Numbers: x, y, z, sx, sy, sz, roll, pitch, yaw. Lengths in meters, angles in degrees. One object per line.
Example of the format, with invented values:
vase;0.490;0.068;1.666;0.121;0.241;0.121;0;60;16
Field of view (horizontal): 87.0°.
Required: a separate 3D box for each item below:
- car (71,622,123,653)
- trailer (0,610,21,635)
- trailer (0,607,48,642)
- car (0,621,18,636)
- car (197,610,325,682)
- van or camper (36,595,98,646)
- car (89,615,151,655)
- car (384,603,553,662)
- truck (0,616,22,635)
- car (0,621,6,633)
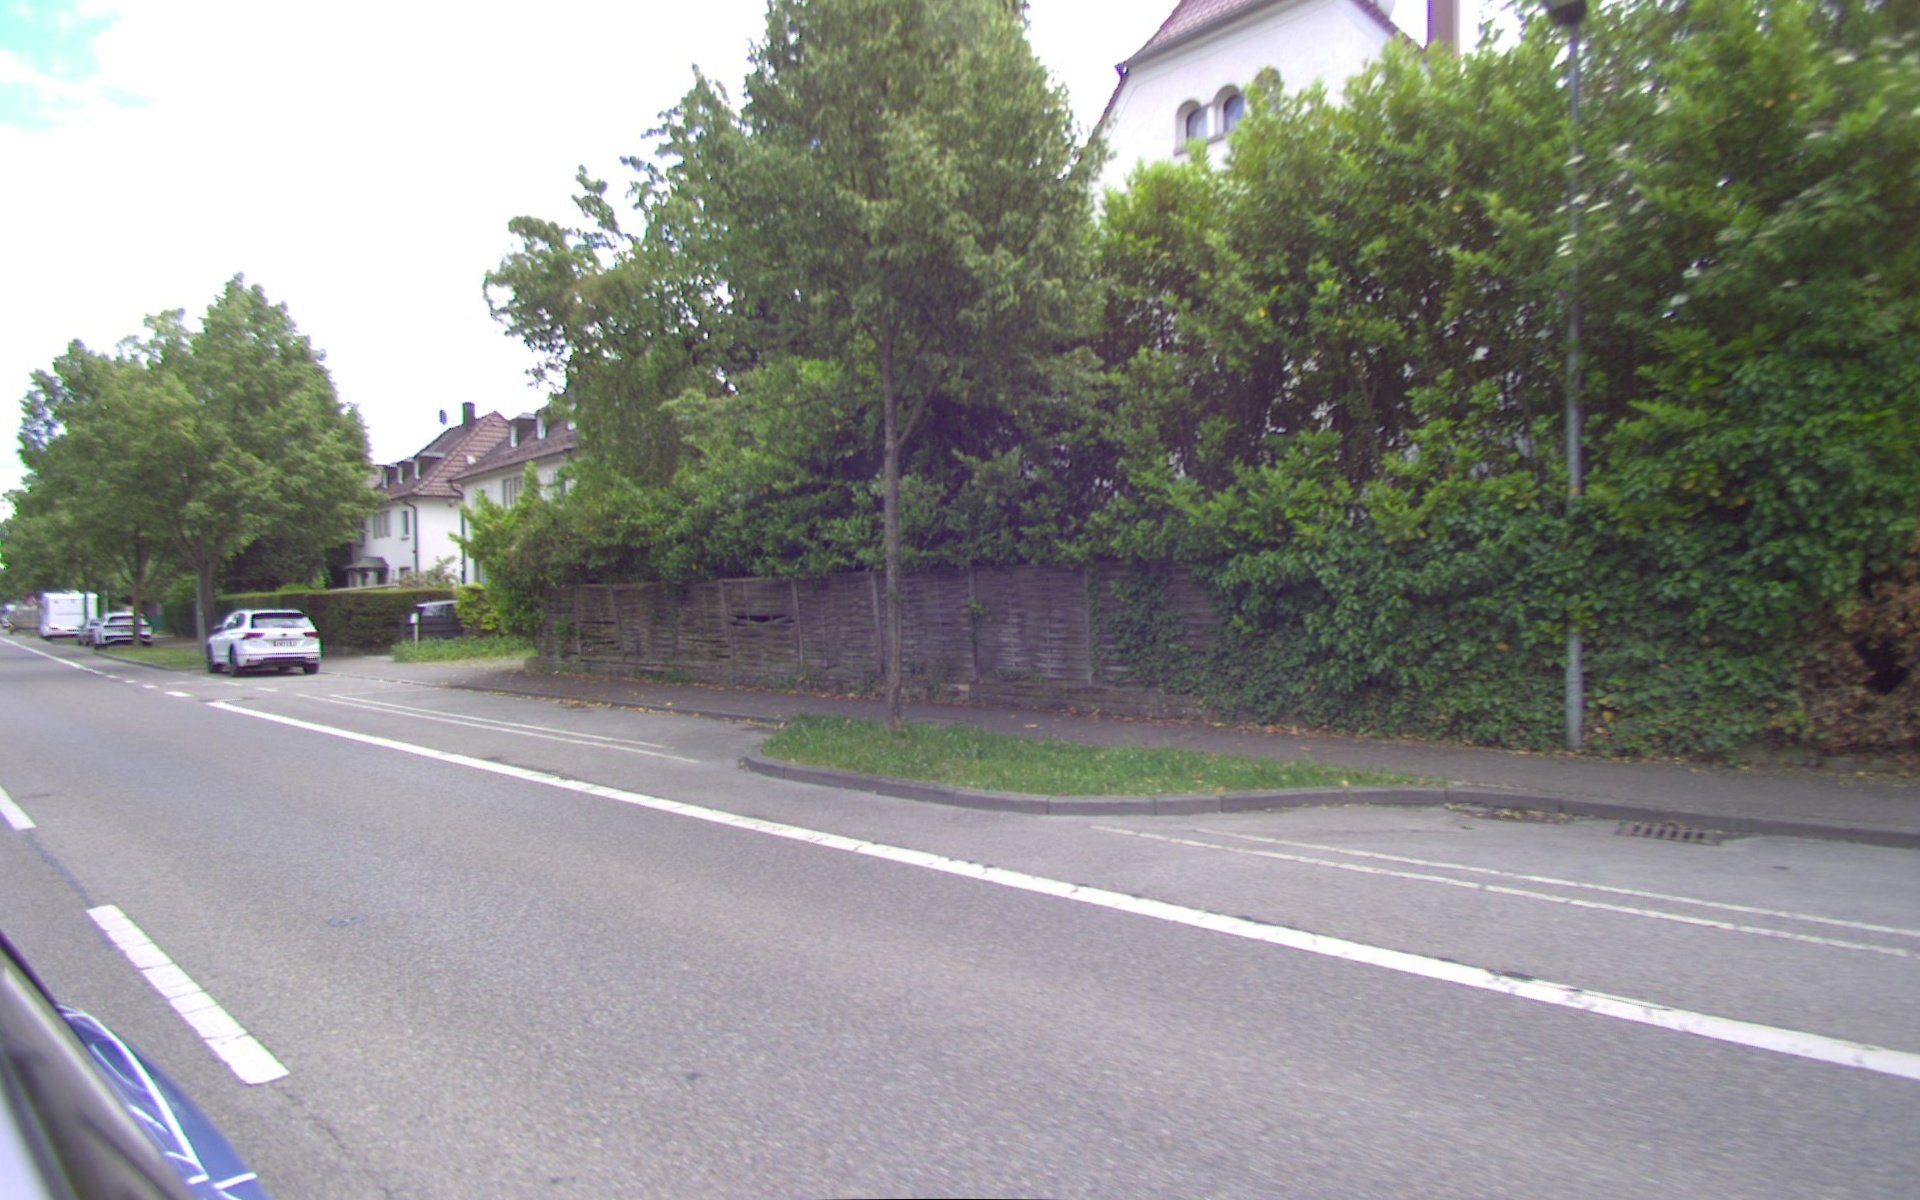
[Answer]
car;-44.937;1.910;52.657;4.452;1.481;1.538;-1;0;43
trailer;-116.966;2.789;124.031;2.342;2.985;7.021;0;-1;-40
trailer;-83.350;2.108;90.043;7.477;2.963;2.644;0;1;44
car;-112.389;3.364;119.468;1.669;1.696;4.229;-1;1;-44
car;-18.353;1.136;26.472;4.867;1.701;1.853;-1;-1;44
van or camper;-56.413;1.254;63.858;7.696;3.032;2.407;-1;-1;45
car;-37.873;1.528;45.587;1.796;1.664;4.703;-1;0;-44
car;-14.431;0.912;29.870;1.765;1.597;4.150;-1;-1;44
truck;-121.381;3.252;129.109;2.266;2.304;6.473;0;-1;-40
car;-161.172;4.508;169.405;1.969;2.029;4.006;0;-1;-40
